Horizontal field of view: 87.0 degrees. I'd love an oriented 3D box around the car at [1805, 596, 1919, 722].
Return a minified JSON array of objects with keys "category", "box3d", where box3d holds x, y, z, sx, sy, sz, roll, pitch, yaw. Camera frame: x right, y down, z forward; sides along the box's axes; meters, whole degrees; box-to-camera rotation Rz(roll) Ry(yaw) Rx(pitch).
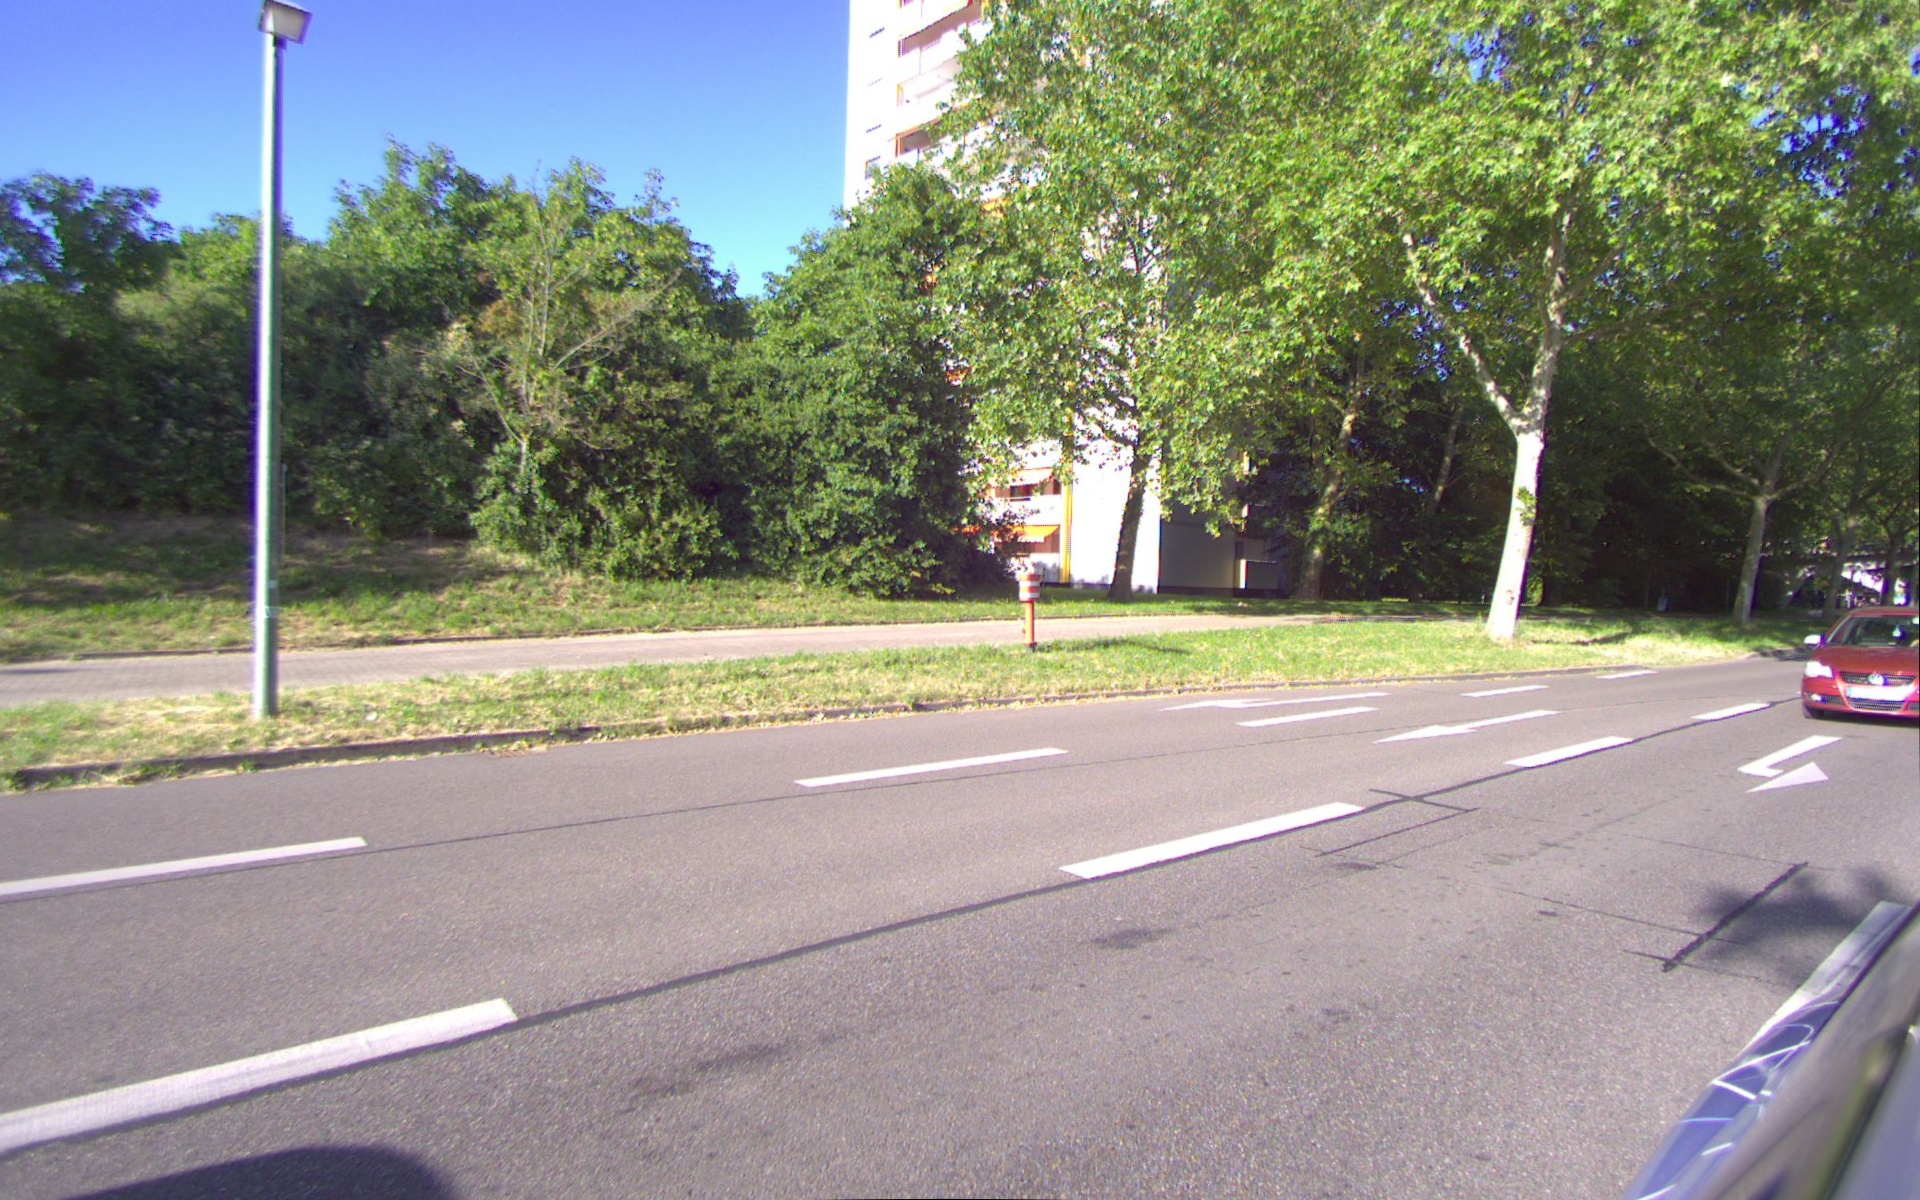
[{"category":"car","box3d":[12.610,0.692,13.299,3.693,1.456,1.646,-1,1,-39]}]
